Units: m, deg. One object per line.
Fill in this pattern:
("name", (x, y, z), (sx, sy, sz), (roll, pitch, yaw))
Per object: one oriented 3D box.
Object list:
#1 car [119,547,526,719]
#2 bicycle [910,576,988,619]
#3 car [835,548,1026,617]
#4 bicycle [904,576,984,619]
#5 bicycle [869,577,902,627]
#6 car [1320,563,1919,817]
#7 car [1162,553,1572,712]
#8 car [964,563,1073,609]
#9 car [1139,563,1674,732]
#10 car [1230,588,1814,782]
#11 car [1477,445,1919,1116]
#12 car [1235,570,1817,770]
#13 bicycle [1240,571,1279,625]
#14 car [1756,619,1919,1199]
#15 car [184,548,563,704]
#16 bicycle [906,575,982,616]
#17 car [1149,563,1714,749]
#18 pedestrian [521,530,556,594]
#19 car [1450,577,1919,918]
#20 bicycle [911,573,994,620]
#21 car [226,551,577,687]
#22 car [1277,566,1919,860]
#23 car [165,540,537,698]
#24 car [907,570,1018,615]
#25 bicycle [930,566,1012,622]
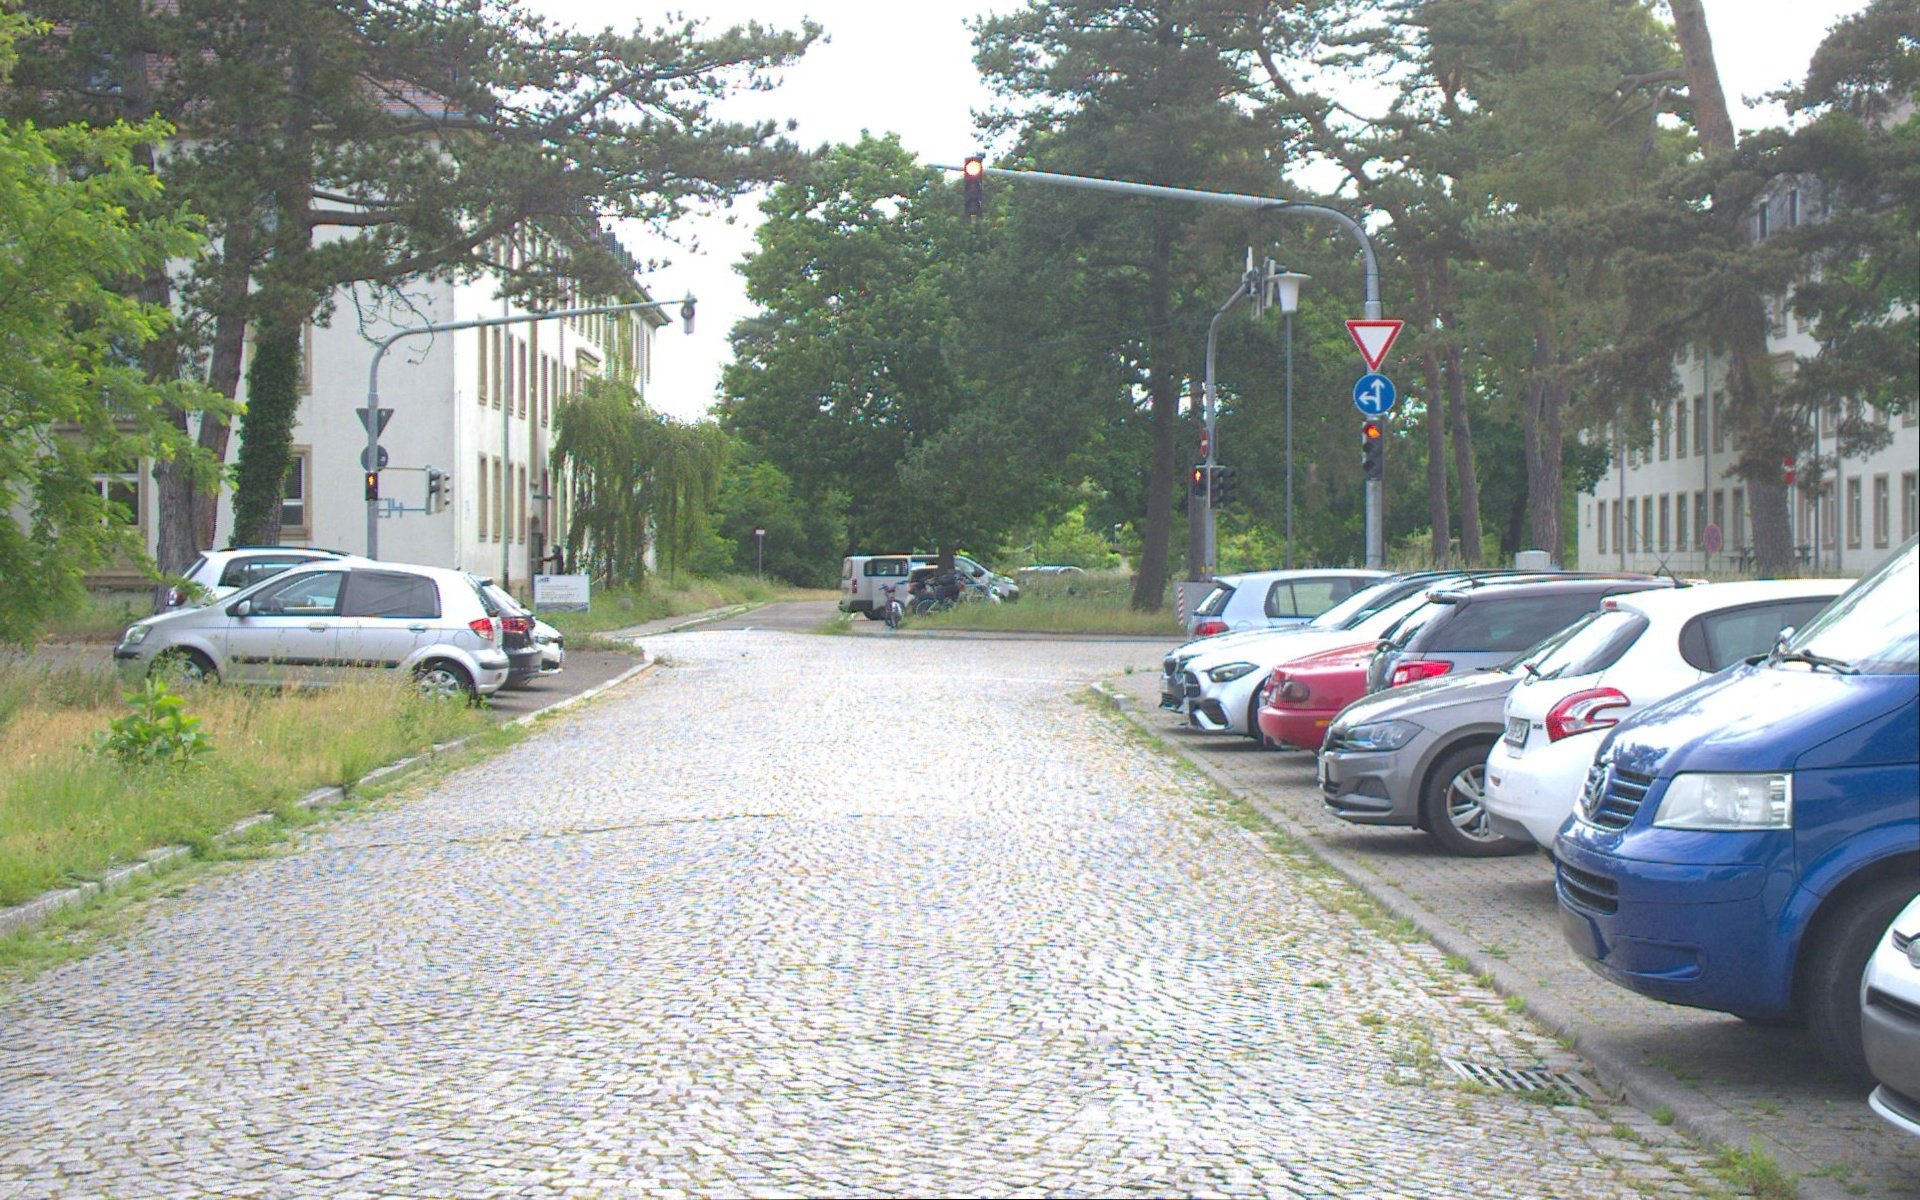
("car", (-6.215, 0.313, 33.798), (3.702, 1.474, 1.583), (3, 0, -4))
("bicycle", (-0.273, -0.068, 86.975), (1.955, 1.066, 0.588), (0, 1, -30))
("car", (-0.888, -0.534, 101.585), (5.359, 1.918, 2.025), (-1, 1, -10))
("bicycle", (-0.400, -0.057, 85.623), (1.955, 1.066, 0.588), (0, 1, -30))
("bicycle", (-1.744, 0.040, 80.298), (0.603, 1.129, 1.962), (0, 1, -7))
("car", (4.386, 0.545, 22.184), (3.862, 1.467, 1.758), (-1, 1, -2))
("car", (4.056, 0.310, 34.699), (3.927, 1.472, 1.642), (-1, 1, 1))
("car", (1.775, -0.442, 105.492), (3.231, 1.411, 1.725), (0, 1, -3))
("car", (4.122, 0.421, 32.246), (4.680, 1.412, 1.871), (-2, 1, -3))
("car", (3.989, 0.590, 24.813), (3.862, 1.232, 1.758), (-2, 1, -2))
("car", (4.271, 0.463, 11.124), (4.807, 1.939, 2.003), (-1, 1, -2))
("car", (4.419, 0.526, 27.296), (4.261, 1.412, 1.871), (-1, 1, -1))
("bicycle", (6.222, -0.053, 71.455), (0.586, 1.102, 1.961), (0, 1, -1))
("car", (4.151, 0.757, 8.533), (3.862, 1.467, 1.841), (-2, 1, -2))
("car", (-6.161, 0.262, 36.396), (3.745, 1.424, 1.583), (3, 0, -4))
("bicycle", (-0.419, -0.118, 90.660), (1.954, 1.066, 0.588), (0, 1, -25))
("car", (4.008, 0.448, 29.560), (4.420, 1.412, 1.871), (-2, 1, -10))
("pedestrian", (-12.147, -1.093, 99.130), (0.774, 1.831, 0.741), (0, 0, -32))
("car", (4.441, 0.642, 16.478), (3.862, 1.467, 1.758), (-1, 1, -2))
("bicycle", (-0.192, -0.082, 83.508), (1.954, 1.129, 0.588), (0, 1, -7))
("car", (-6.730, 0.221, 41.713), (3.947, 1.416, 1.650), (3, 0, -1))
("car", (3.833, 0.594, 19.336), (3.862, 1.467, 1.758), (-1, 1, -2))
("car", (-6.884, 0.205, 39.169), (3.947, 1.558, 1.650), (3, 0, -4))
("car", (0.058, -0.220, 98.232), (3.005, 1.264, 1.535), (0, 1, -6))
("bicycle", (0.260, -0.150, 84.976), (1.954, 1.379, 0.588), (0, 1, -7))
